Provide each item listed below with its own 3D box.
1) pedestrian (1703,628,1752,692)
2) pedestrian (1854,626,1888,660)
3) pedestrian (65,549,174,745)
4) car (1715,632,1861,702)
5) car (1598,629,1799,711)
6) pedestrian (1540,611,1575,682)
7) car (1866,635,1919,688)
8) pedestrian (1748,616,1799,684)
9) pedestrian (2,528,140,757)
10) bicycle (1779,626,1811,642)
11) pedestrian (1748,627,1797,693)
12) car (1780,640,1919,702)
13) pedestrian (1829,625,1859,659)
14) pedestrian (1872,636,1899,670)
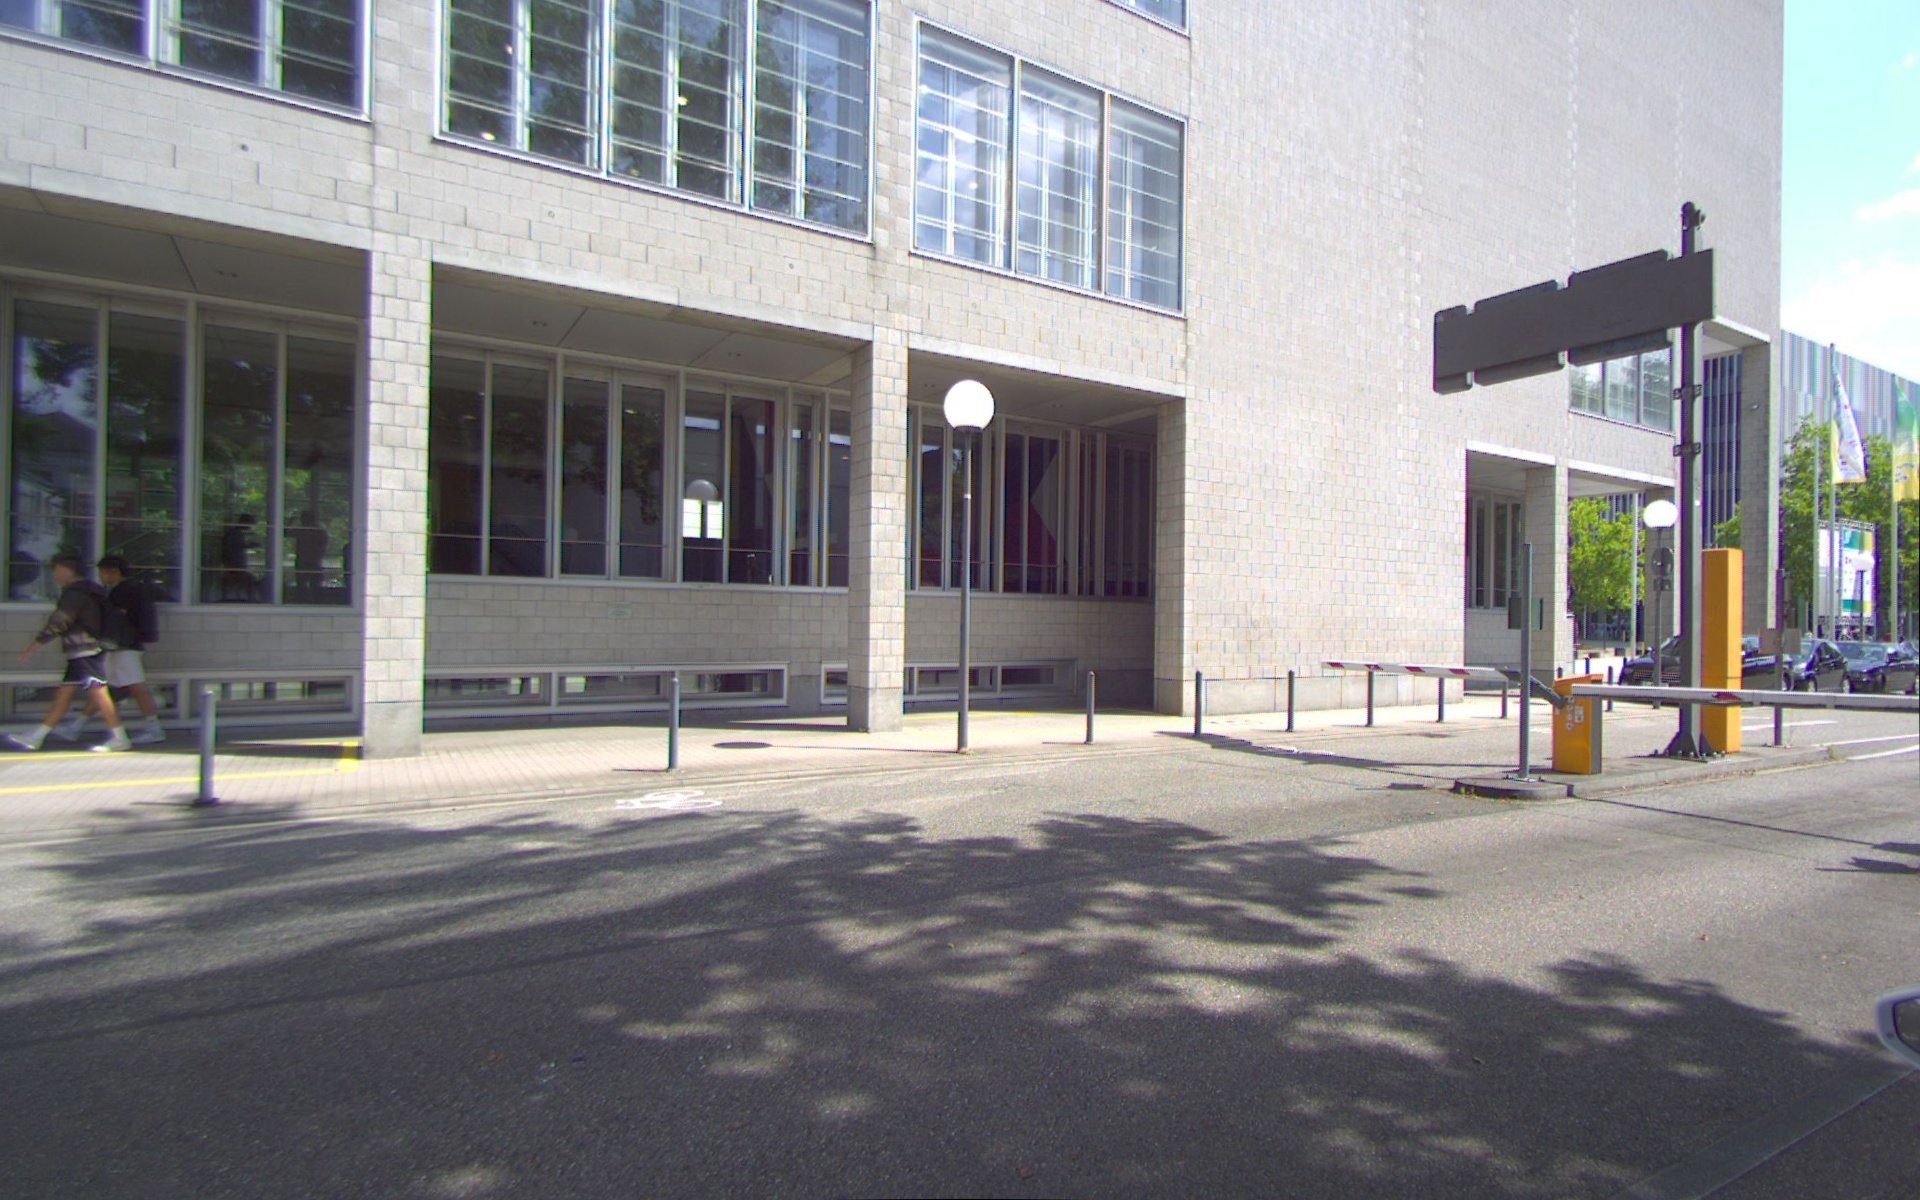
[{"bbox_3d":[25.238,1.945,33.026,1.154,2.040,0.977,1,-1,-36],"label":"pedestrian"},{"bbox_3d":[49.821,2.339,54.938,1.076,1.843,0.863,1,-1,-8],"label":"pedestrian"},{"bbox_3d":[-8.543,0.462,10.242,0.712,1.905,0.727,1,0,-32],"label":"pedestrian"},{"bbox_3d":[20.045,1.577,24.287,3.666,1.487,1.629,2,1,-32],"label":"car"},{"bbox_3d":[15.750,1.427,21.361,4.667,1.487,1.849,2,1,-32],"label":"car"},{"bbox_3d":[20.828,1.618,35.012,0.724,2.454,0.759,1,-1,-8],"label":"pedestrian"},{"bbox_3d":[29.937,1.889,31.018,4.147,1.487,1.739,2,1,-31],"label":"car"},{"bbox_3d":[25.289,1.535,31.238,1.154,2.040,0.977,1,-1,-36],"label":"pedestrian"},{"bbox_3d":[-8.360,0.388,9.484,0.820,2.040,0.695,1,0,-32],"label":"pedestrian"},{"bbox_3d":[69.837,2.858,84.015,1.352,1.253,2.948,1,-1,26],"label":"bicycle"},{"bbox_3d":[26.082,1.908,32.247,1.154,2.040,0.977,1,-1,-36],"label":"pedestrian"},{"bbox_3d":[23.998,1.827,26.670,4.958,1.396,1.850,2,1,-31],"label":"car"},{"bbox_3d":[49.624,2.345,56.392,0.988,1.901,0.854,1,-1,-9],"label":"pedestrian"},{"bbox_3d":[44.990,2.556,48.851,0.789,1.619,0.767,1,-1,-30],"label":"pedestrian"}]
